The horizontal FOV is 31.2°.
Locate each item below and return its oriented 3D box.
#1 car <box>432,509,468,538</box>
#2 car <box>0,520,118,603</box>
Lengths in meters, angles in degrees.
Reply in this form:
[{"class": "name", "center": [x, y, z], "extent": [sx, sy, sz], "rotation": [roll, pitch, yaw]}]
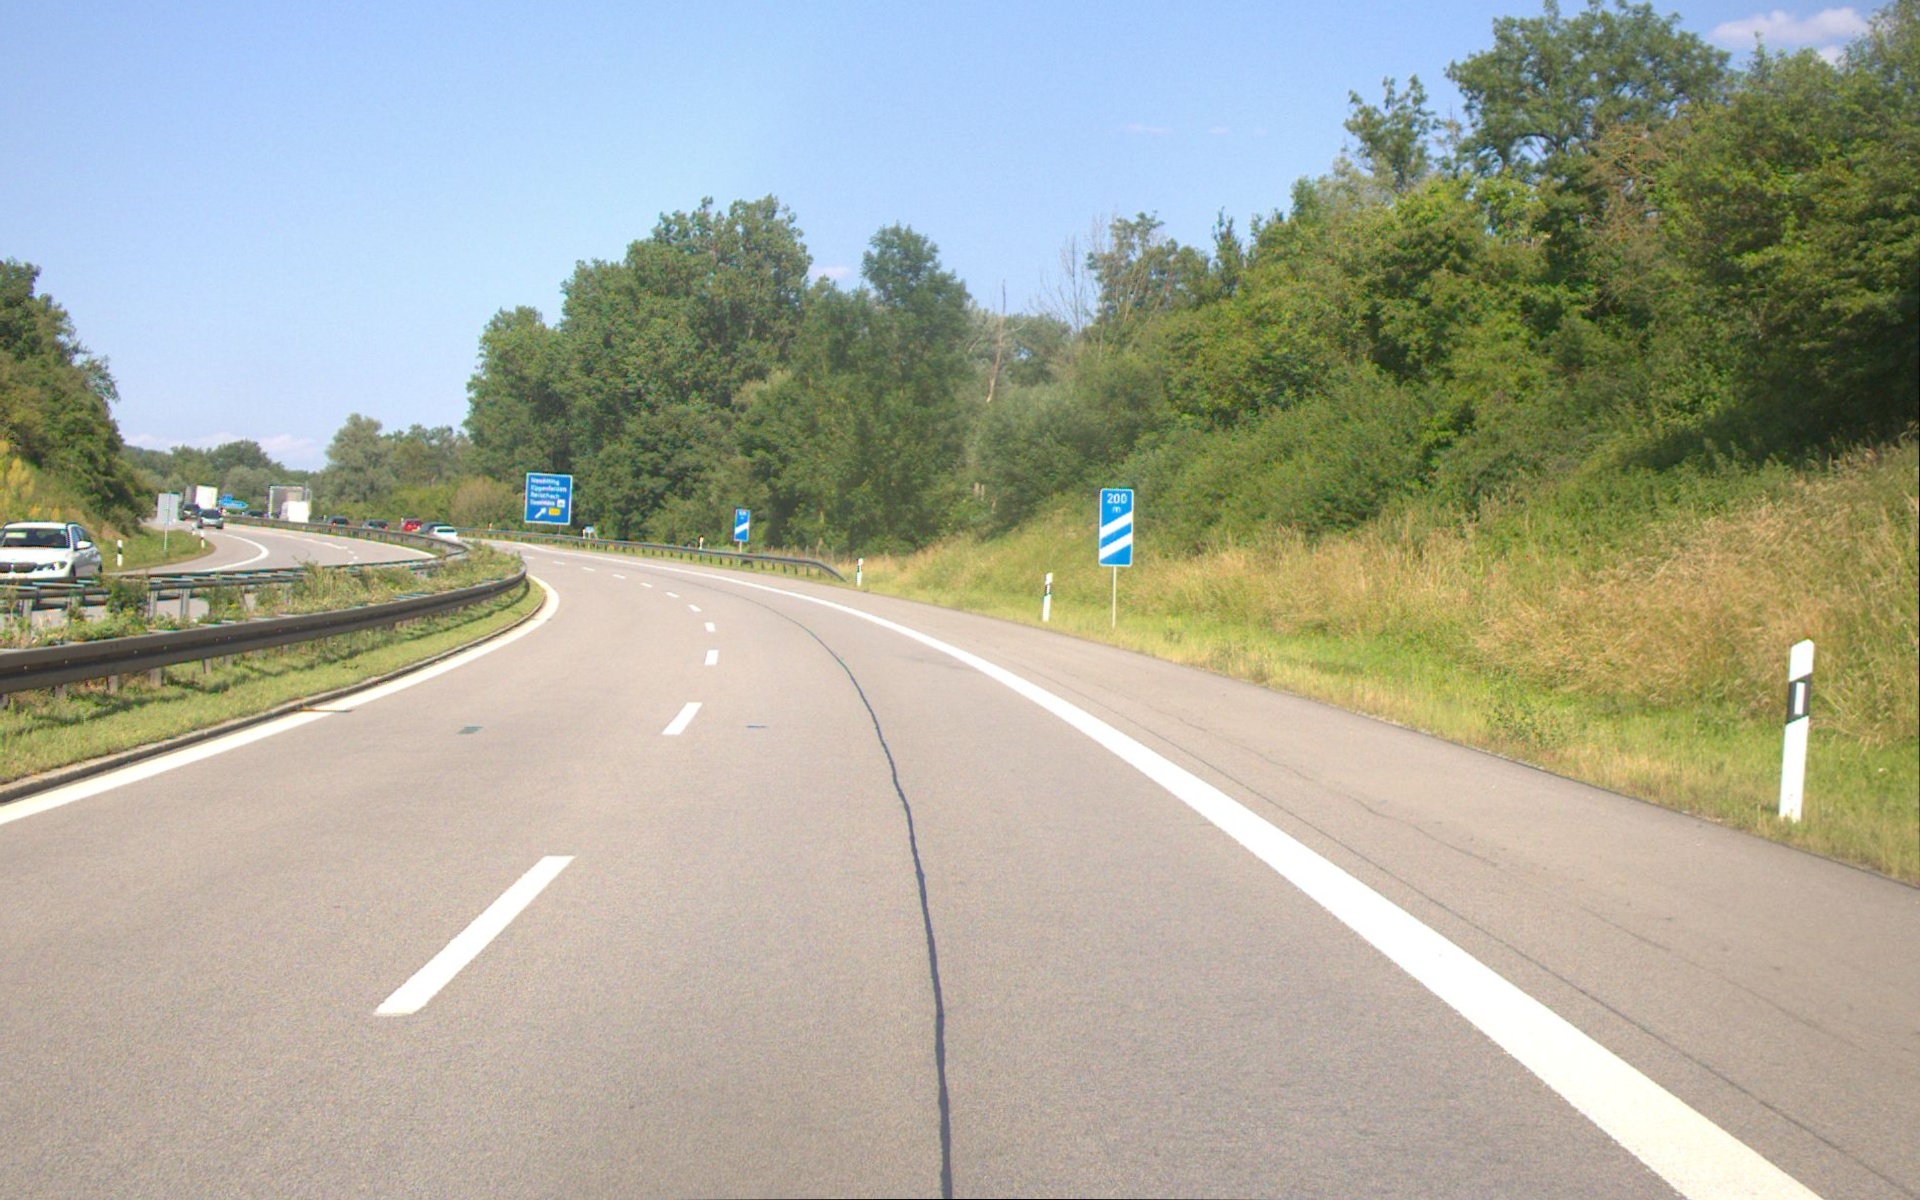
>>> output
[{"class": "car", "center": [-32.332, -4.859, 217.999], "extent": [2.061, 1.619, 4.001], "rotation": [2, -1, -11]}, {"class": "car", "center": [-16.515, -0.721, 61.813], "extent": [1.899, 1.417, 4.399], "rotation": [0, 1, -3]}]
